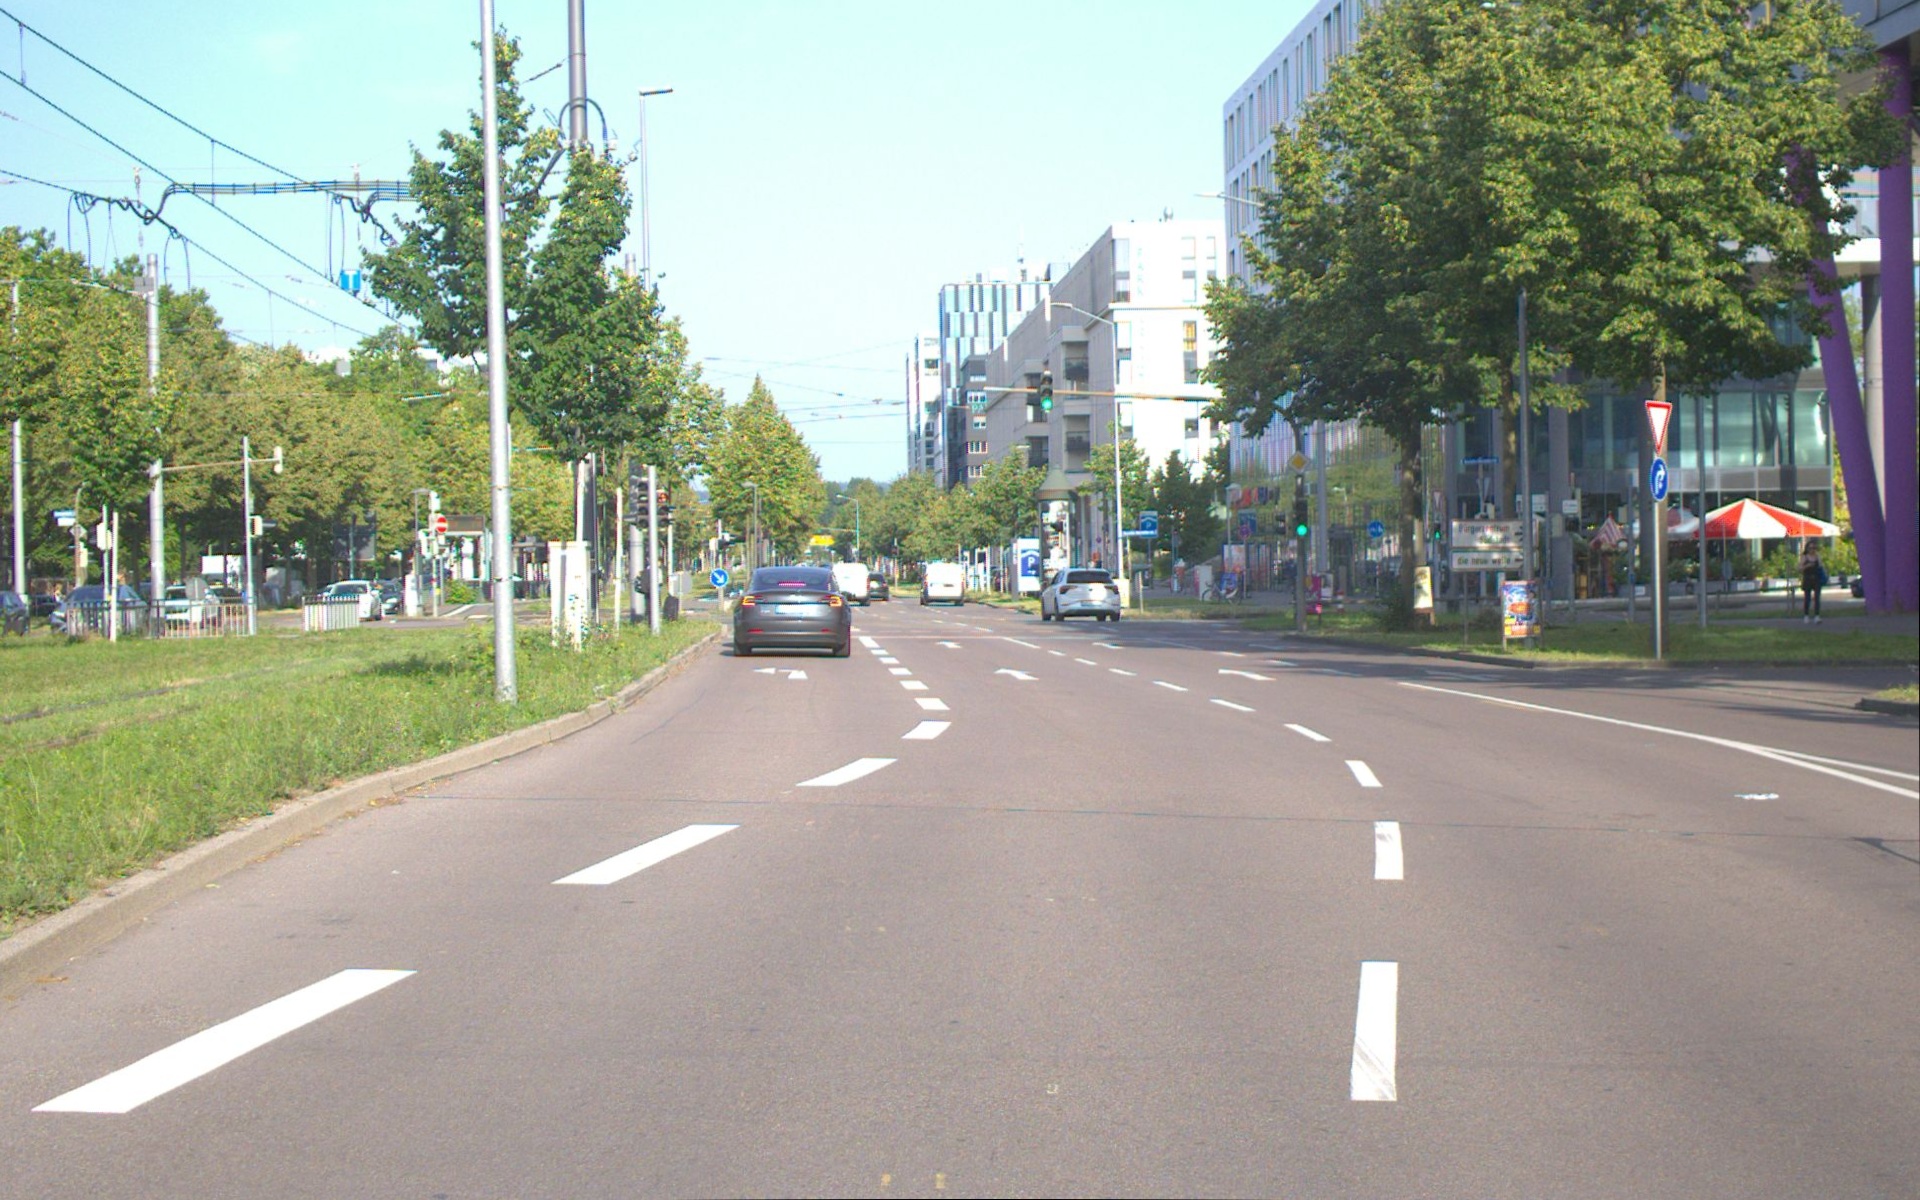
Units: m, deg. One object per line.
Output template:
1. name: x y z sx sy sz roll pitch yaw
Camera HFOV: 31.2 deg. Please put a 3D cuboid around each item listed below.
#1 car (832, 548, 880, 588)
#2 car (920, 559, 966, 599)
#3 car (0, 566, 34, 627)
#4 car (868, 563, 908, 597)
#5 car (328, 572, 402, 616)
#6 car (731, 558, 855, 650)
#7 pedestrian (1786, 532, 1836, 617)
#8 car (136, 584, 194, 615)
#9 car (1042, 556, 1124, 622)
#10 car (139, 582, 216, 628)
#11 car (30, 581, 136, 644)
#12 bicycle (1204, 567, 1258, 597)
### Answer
1. car: -4.489 -1.377 148.013 2.014 1.678 4.000 1 1 -2
2. car: -0.765 -0.945 150.825 1.864 1.678 4.000 1 1 -2
3. car: -27.825 -0.096 97.603 1.993 1.681 4.617 -1 1 -3
4. car: -3.637 -1.021 173.053 1.924 1.678 4.000 1 1 -2
5. car: -21.373 -0.245 123.613 1.993 1.499 4.093 0 1 -1
6. car: -2.675 0.034 55.094 1.889 1.381 4.335 1 1 -3
7. pedestrian: 16.849 -0.502 68.056 0.694 1.633 0.737 -3 0 -3
8. car: -41.105 -0.051 177.836 1.881 1.554 4.000 -1 0 3
9. car: 3.253 -0.317 91.509 1.864 1.678 4.000 1 1 -2
10. car: -27.982 0.166 123.063 1.905 1.522 4.442 -1 1 -2
11. car: -24.601 0.321 96.588 1.993 1.522 4.913 -4 1 -5
12. bicycle: 9.728 -0.660 123.608 1.877 1.029 0.771 1 2 44
